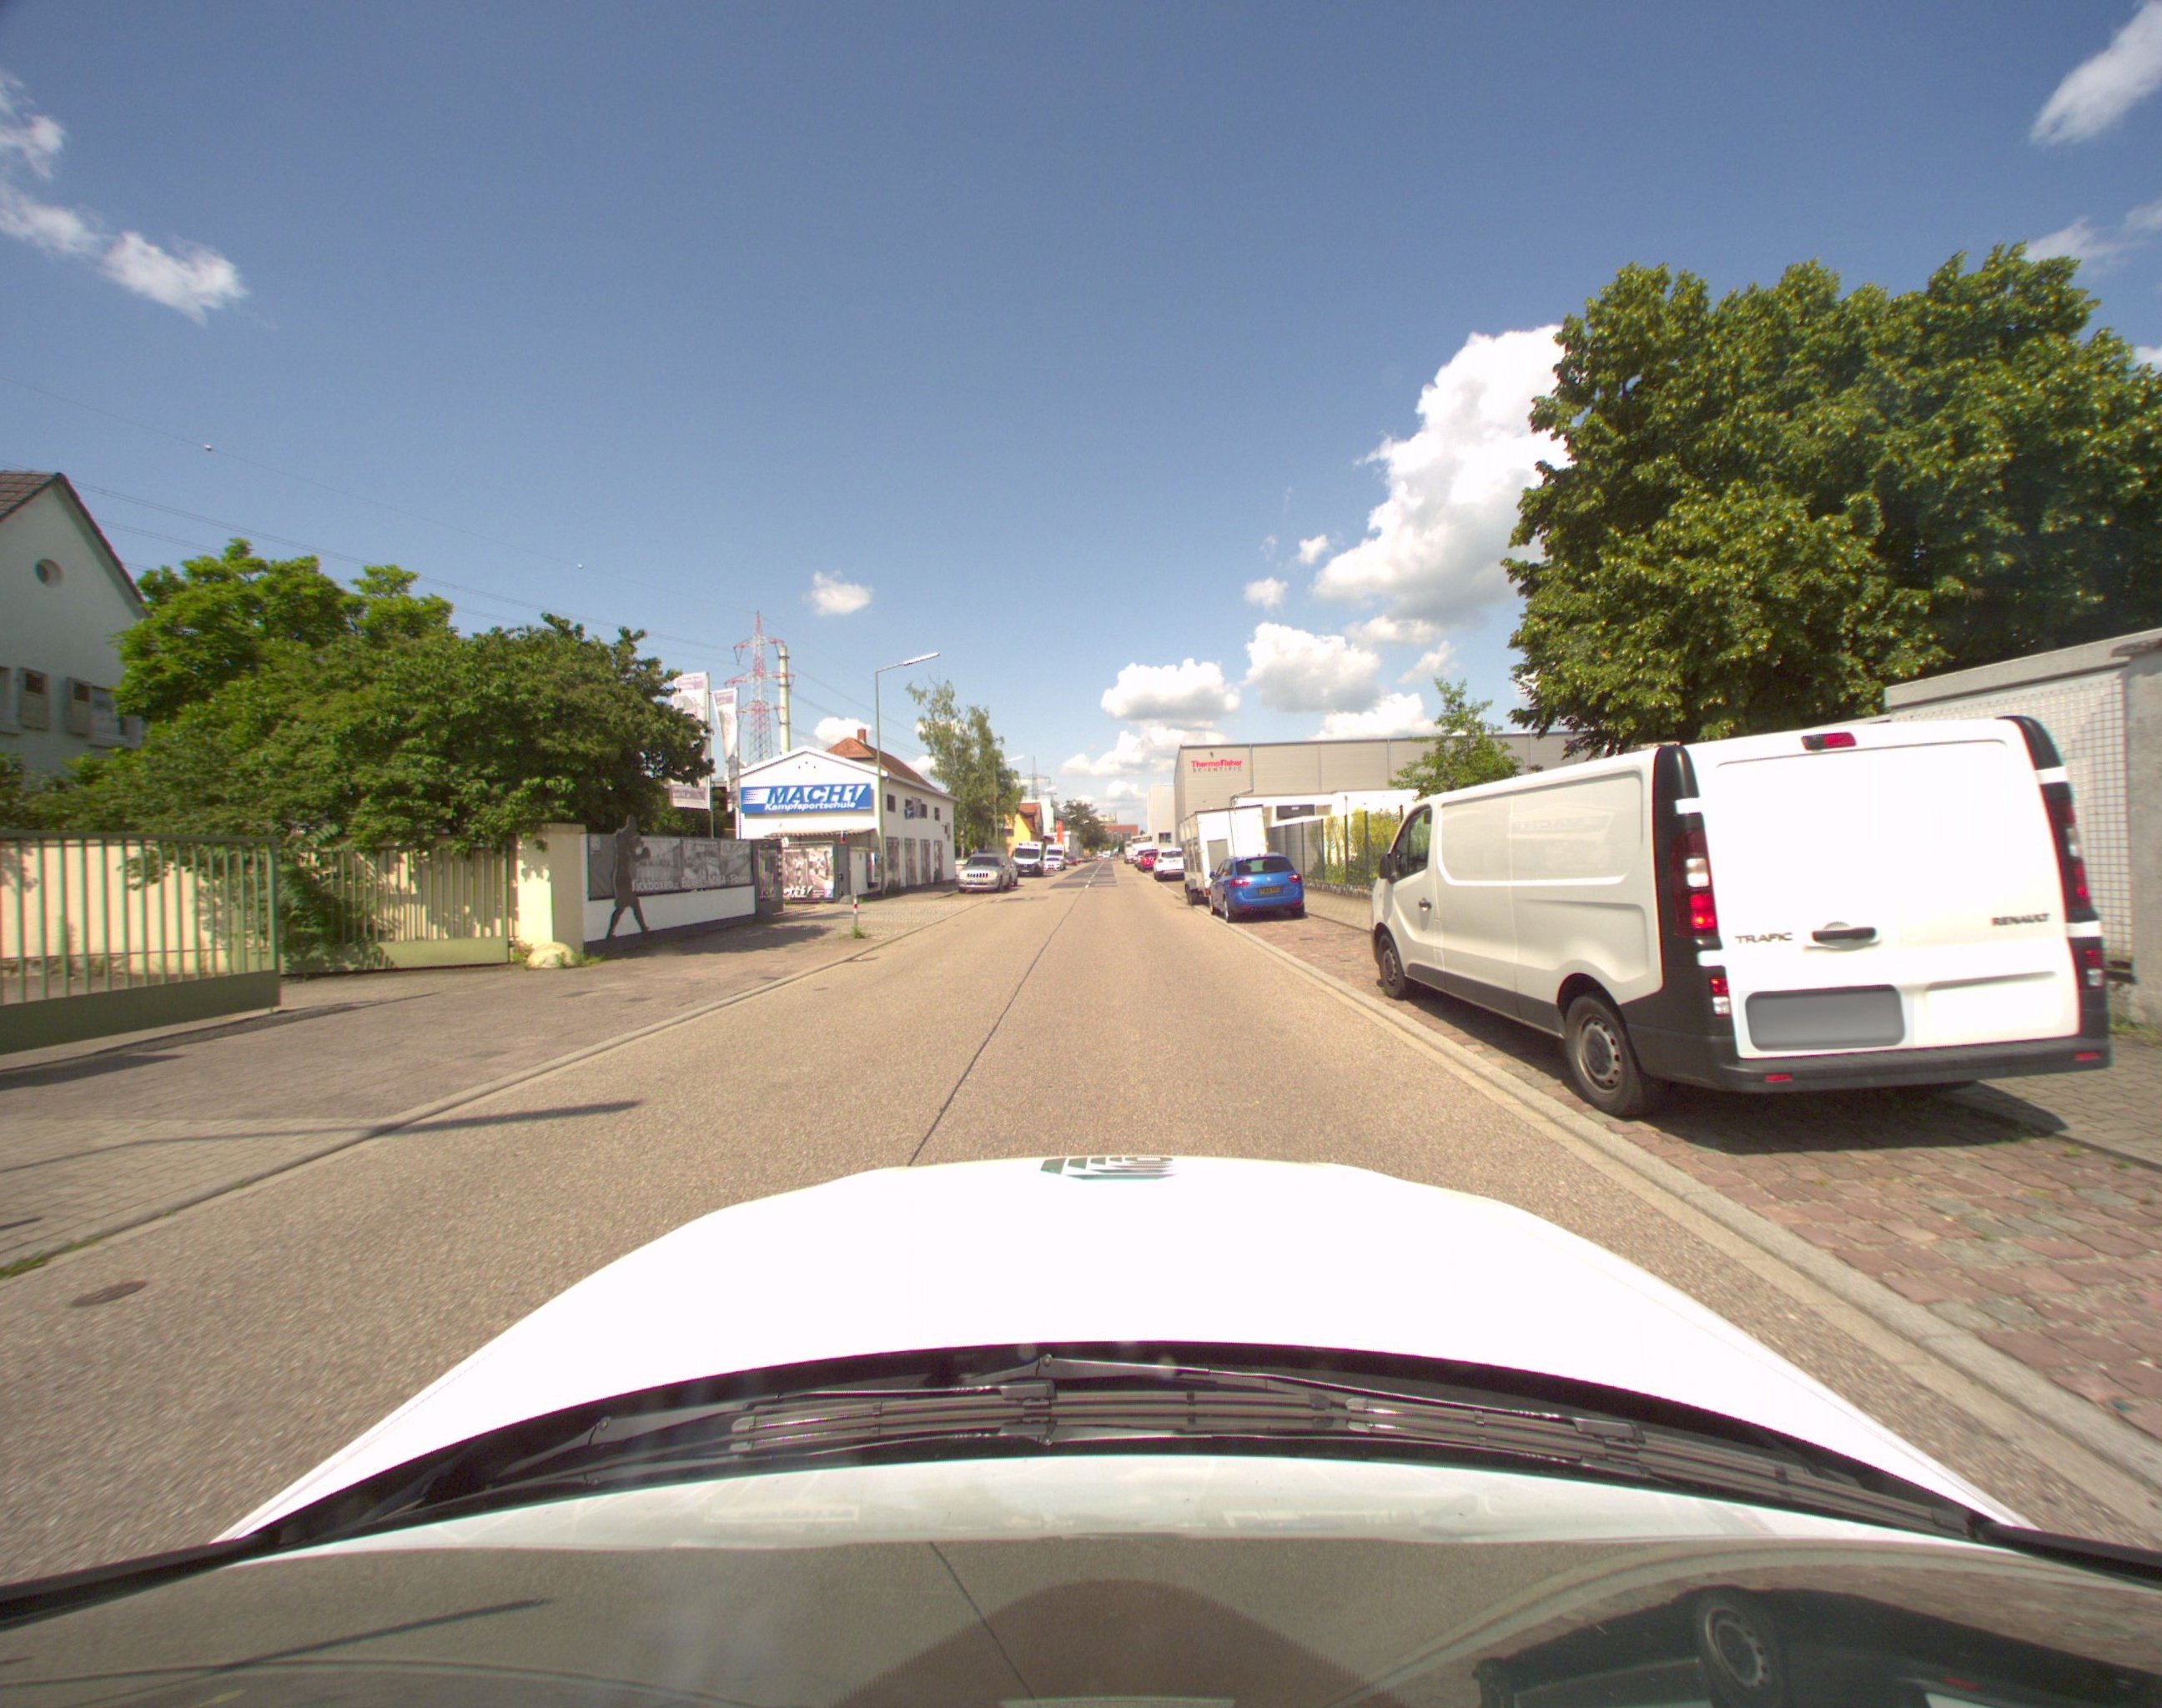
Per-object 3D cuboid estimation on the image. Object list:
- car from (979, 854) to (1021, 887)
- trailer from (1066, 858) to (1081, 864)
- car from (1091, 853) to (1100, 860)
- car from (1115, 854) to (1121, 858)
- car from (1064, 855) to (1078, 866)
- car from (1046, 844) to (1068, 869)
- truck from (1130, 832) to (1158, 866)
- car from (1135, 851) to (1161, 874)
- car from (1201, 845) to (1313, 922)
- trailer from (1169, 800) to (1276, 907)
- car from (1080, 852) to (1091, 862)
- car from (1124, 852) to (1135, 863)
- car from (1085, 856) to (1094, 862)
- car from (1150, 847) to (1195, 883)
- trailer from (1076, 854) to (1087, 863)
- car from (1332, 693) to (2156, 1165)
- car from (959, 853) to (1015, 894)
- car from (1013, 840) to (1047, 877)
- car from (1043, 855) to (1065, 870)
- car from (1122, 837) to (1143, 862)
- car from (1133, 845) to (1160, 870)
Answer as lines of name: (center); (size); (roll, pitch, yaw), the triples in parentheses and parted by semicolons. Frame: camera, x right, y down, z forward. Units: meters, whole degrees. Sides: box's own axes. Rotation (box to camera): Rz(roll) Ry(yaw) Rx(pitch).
car: (-4.087, 0.814, 41.703); (1.602, 1.574, 3.012); (2, 0, 4)
trailer: (-1.234, 1.198, 136.833); (2.353, 0.893, 5.571); (0, 0, 2)
car: (3.437, 0.615, 196.826); (1.913, 1.794, 4.005); (0, -1, 4)
car: (11.486, 0.618, 252.153); (1.909, 1.285, 3.619); (-2, 0, 4)
car: (-1.406, 0.927, 117.873); (1.755, 1.447, 4.744); (0, -1, 3)
car: (-2.523, 0.289, 86.432); (2.019, 2.561, 6.841); (0, -1, 1)
truck: (6.762, -0.474, 87.942); (2.449, 3.293, 6.822); (-7, -1, 3)
car: (5.176, 0.643, 63.470); (1.698, 1.624, 4.093); (-5, -1, 1)
car: (3.905, 0.630, 18.733); (1.684, 1.461, 4.071); (-4, -1, 1)
trailer: (4.199, 0.010, 25.358); (2.196, 2.737, 6.223); (-5, -1, 1)
car: (0.895, 0.639, 173.408); (1.984, 2.014, 4.005); (0, -1, 4)
car: (7.810, 0.542, 131.564); (1.761, 1.612, 3.876); (-2, -1, 3)
car: (1.872, 1.126, 178.891); (1.662, 1.447, 3.455); (0, -1, 2)
car: (4.880, 0.538, 43.873); (1.928, 1.693, 4.682); (-4, 0, 2)
trailer: (0.147, 0.837, 157.842); (1.986, 1.556, 4.255); (-1, 0, 2)
car: (3.800, 0.342, 6.438); (1.986, 2.013, 5.652); (-2, 0, 2)
car: (-4.171, 0.843, 36.726); (1.784, 1.719, 4.753); (1, 0, 2)
car: (-3.651, 0.320, 59.463); (2.023, 2.557, 6.656); (0, -1, 0)
car: (-2.600, 0.810, 79.198); (1.788, 1.397, 4.505); (0, -1, 3)
car: (7.506, -0.559, 118.977); (2.381, 3.362, 6.642); (-5, 0, -1)
car: (5.587, 0.266, 70.444); (2.045, 1.903, 5.151); (-5, 0, 3)
